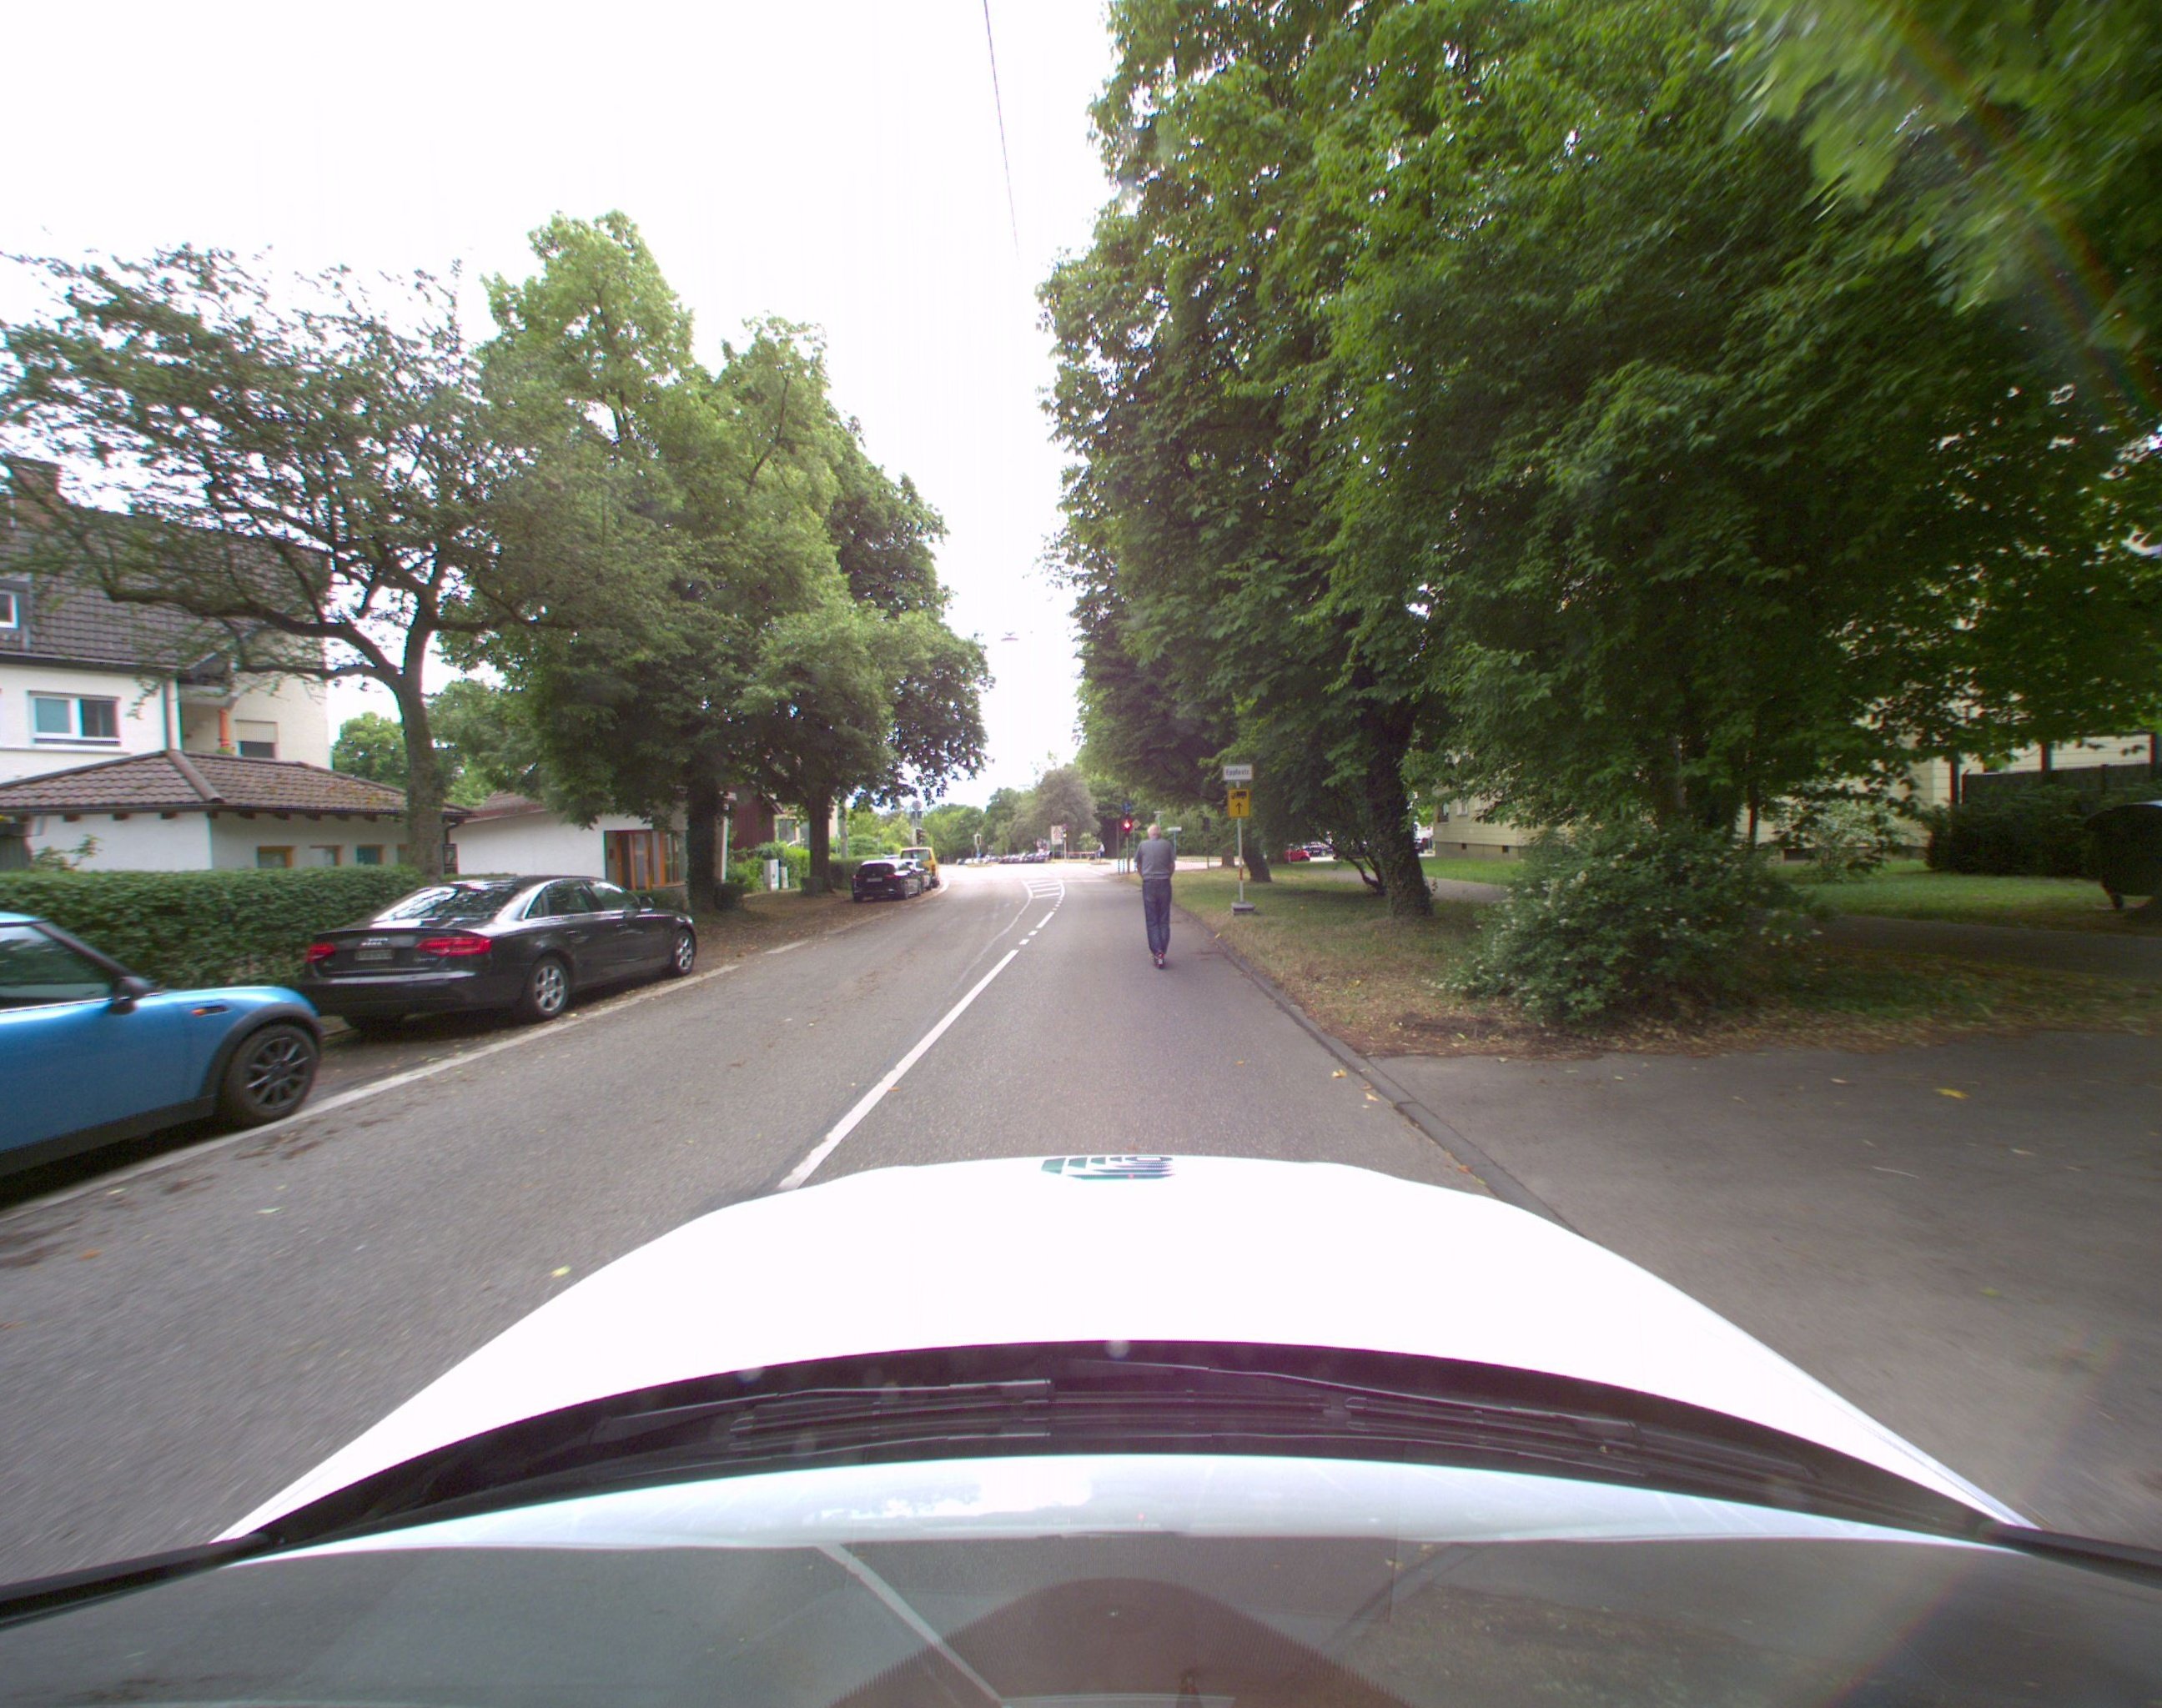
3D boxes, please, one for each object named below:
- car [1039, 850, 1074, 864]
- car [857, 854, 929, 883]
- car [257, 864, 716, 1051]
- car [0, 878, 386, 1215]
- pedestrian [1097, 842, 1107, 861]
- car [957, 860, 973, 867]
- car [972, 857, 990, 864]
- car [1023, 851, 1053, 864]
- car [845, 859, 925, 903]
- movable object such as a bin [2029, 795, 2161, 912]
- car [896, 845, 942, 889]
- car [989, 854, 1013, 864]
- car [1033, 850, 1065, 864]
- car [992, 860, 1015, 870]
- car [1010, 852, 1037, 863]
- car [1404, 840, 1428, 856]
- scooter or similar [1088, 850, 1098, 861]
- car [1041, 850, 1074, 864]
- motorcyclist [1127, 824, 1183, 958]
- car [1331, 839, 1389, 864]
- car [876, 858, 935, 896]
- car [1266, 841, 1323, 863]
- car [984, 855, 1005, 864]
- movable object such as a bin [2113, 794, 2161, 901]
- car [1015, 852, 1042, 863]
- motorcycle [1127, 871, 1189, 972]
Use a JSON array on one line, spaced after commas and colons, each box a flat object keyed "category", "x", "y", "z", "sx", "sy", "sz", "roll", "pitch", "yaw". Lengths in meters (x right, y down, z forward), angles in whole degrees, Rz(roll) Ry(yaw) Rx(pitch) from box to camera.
[{"category": "car", "x": -2.912, "y": 0.374, "z": 96.939, "sx": 3.981, "sy": 1.510, "sz": 1.797, "roll": -3, "pitch": 0, "yaw": -6}, {"category": "car", "x": -11.163, "y": 0.844, "z": 48.651, "sx": 3.985, "sy": 1.510, "sz": 1.795, "roll": -2, "pitch": 2, "yaw": -9}, {"category": "car", "x": -6.031, "y": 0.896, "z": 9.172, "sx": 1.789, "sy": 1.410, "sz": 4.642, "roll": -2, "pitch": 0, "yaw": -2}, {"category": "car", "x": -5.558, "y": 0.904, "z": 3.753, "sx": 1.661, "sy": 1.391, "sz": 3.700, "roll": -2, "pitch": 0, "yaw": -5}, {"category": "pedestrian", "x": 2.000, "y": -0.206, "z": 77.881, "sx": 0.726, "sy": 1.761, "sz": 0.664, "roll": -2, "pitch": 0, "yaw": 16}, {"category": "car", "x": -29.878, "y": 2.481, "z": 209.797, "sx": 3.981, "sy": 1.510, "sz": 1.797, "roll": -3, "pitch": 0, "yaw": -6}, {"category": "car", "x": -23.063, "y": 1.436, "z": 187.860, "sx": 3.981, "sy": 1.510, "sz": 1.797, "roll": -3, "pitch": 0, "yaw": -6}, {"category": "car", "x": -5.808, "y": 0.446, "z": 110.760, "sx": 3.981, "sy": 1.510, "sz": 1.797, "roll": -3, "pitch": 0, "yaw": -6}, {"category": "car", "x": -7.034, "y": 0.915, "z": 29.636, "sx": 1.887, "sy": 1.410, "sz": 4.550, "roll": -2, "pitch": 0, "yaw": -2}, {"category": "movable object such as a bin", "x": 14.376, "y": -0.040, "z": 11.123, "sx": 1.324, "sy": 1.501, "sz": 1.312, "roll": -3, "pitch": 0, "yaw": -5}, {"category": "car", "x": -7.986, "y": 0.639, "z": 40.486, "sx": 1.856, "sy": 1.964, "sz": 4.492, "roll": -2, "pitch": 0, "yaw": -8}, {"category": "car", "x": -13.449, "y": 0.907, "z": 137.350, "sx": 3.981, "sy": 1.510, "sz": 1.797, "roll": -3, "pitch": 0, "yaw": -6}, {"category": "car", "x": -4.079, "y": 0.392, "z": 104.014, "sx": 3.981, "sy": 1.510, "sz": 1.797, "roll": -3, "pitch": 0, "yaw": -6}, {"category": "car", "x": -13.663, "y": 1.907, "z": 143.961, "sx": 3.981, "sy": 1.510, "sz": 1.797, "roll": -3, "pitch": 0, "yaw": -6}, {"category": "car", "x": -8.696, "y": 0.512, "z": 123.222, "sx": 3.981, "sy": 1.510, "sz": 1.797, "roll": -3, "pitch": 0, "yaw": -6}, {"category": "car", "x": 34.261, "y": -0.658, "z": 83.465, "sx": 2.065, "sy": 1.510, "sz": 4.020, "roll": -2, "pitch": 0, "yaw": 20}, {"category": "scooter or similar", "x": 1.160, "y": 0.175, "z": 78.095, "sx": 0.704, "sy": 1.049, "sz": 0.791, "roll": -2, "pitch": 0, "yaw": 17}, {"category": "car", "x": -2.937, "y": 0.381, "z": 100.518, "sx": 3.981, "sy": 1.510, "sz": 1.797, "roll": -3, "pitch": 0, "yaw": -6}, {"category": "motorcyclist", "x": 0.996, "y": 0.485, "z": 11.075, "sx": 0.671, "sy": 1.761, "sz": 0.638, "roll": 0, "pitch": 0, "yaw": -2}, {"category": "car", "x": 20.394, "y": -0.194, "z": 59.526, "sx": 3.952, "sy": 1.726, "sz": 1.810, "roll": 0, "pitch": 3, "yaw": 22}, {"category": "car", "x": -7.444, "y": 0.935, "z": 34.867, "sx": 1.790, "sy": 1.416, "sz": 4.184, "roll": -2, "pitch": 0, "yaw": -4}, {"category": "car", "x": 15.856, "y": -0.161, "z": 60.729, "sx": 3.963, "sy": 1.557, "sz": 1.806, "roll": 0, "pitch": 3, "yaw": 9}, {"category": "car", "x": -16.805, "y": 1.059, "z": 157.745, "sx": 3.981, "sy": 1.510, "sz": 1.797, "roll": -3, "pitch": 0, "yaw": -6}, {"category": "movable object such as a bin", "x": 15.809, "y": -0.117, "z": 11.294, "sx": 1.324, "sy": 1.501, "sz": 1.312, "roll": -3, "pitch": 0, "yaw": -5}, {"category": "car", "x": -7.882, "y": 0.490, "z": 121.369, "sx": 3.981, "sy": 1.510, "sz": 1.797, "roll": -3, "pitch": 0, "yaw": -6}, {"category": "motorcycle", "x": 1.003, "y": 0.860, "z": 10.861, "sx": 0.671, "sy": 1.217, "sz": 1.273, "roll": 0, "pitch": 0, "yaw": -1}]
